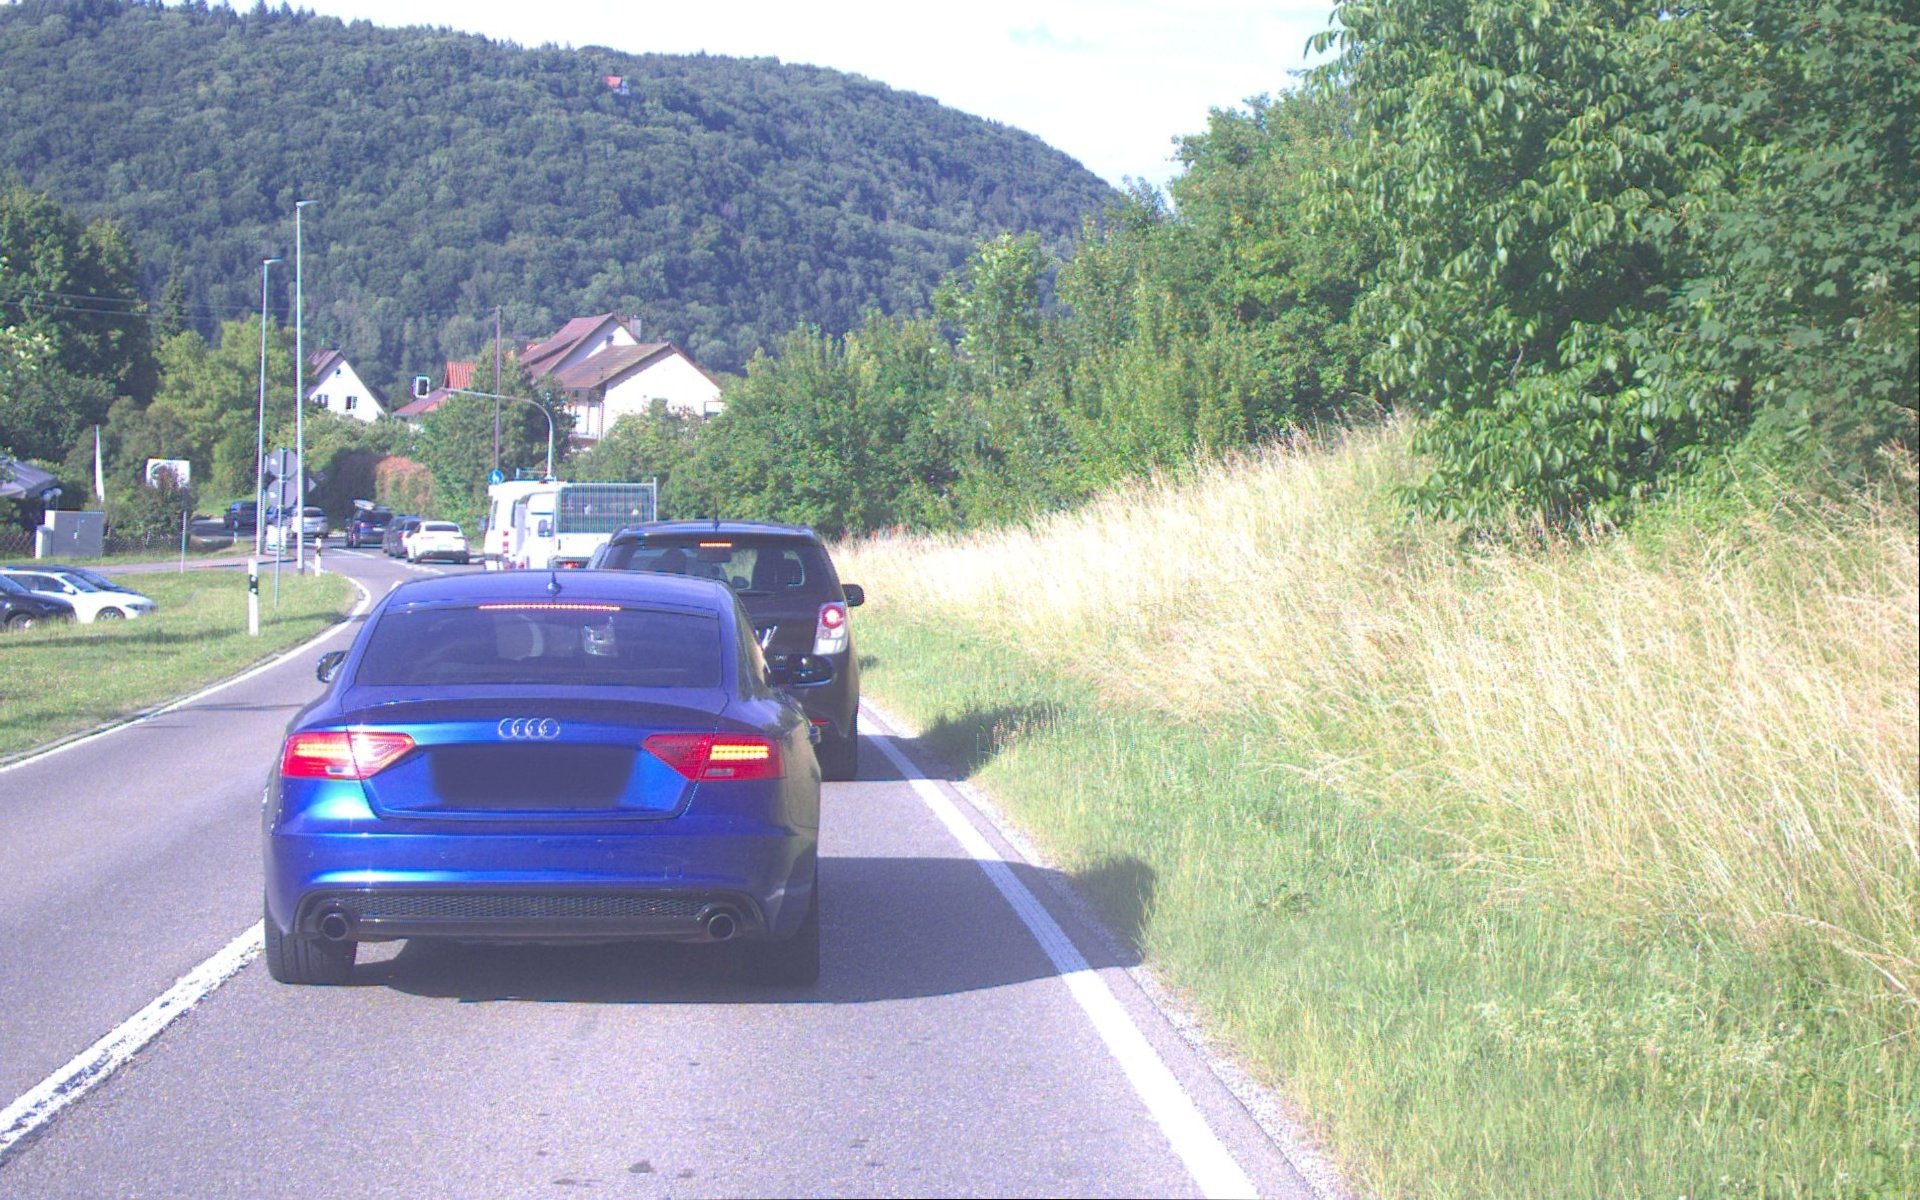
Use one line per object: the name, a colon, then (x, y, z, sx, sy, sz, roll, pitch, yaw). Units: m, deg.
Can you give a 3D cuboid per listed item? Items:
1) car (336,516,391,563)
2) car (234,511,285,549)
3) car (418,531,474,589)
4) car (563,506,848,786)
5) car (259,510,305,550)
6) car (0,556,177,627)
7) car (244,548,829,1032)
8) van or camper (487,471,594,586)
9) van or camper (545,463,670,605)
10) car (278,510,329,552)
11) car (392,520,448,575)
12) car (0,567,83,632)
car: (-24.850, -2.524, 143.124, 1.676, 1.918, 4.001, -1, 1, -18)
car: (-36.293, -3.630, 178.054, 1.954, 1.918, 4.001, -1, 1, -21)
car: (-17.414, -1.368, 116.356, 1.659, 1.918, 4.001, -1, 1, -11)
car: (-1.612, 0.244, 22.221, 1.645, 1.619, 3.517, 2, 1, -3)
car: (-33.162, -3.390, 168.069, 1.676, 1.918, 4.001, -1, 1, -19)
car: (-20.882, -0.213, 81.875, 4.036, 1.655, 1.655, 0, 1, 6)
car: (-1.385, 0.552, 12.140, 1.742, 1.445, 3.517, 1, 1, -4)
van or camper: (-10.281, -1.725, 83.958, 2.280, 2.704, 5.769, -1, 1, -10)
van or camper: (-6.599, -1.211, 63.856, 2.051, 2.497, 5.813, 0, 1, -8)
car: (-30.507, -3.210, 159.717, 1.676, 1.918, 4.001, -1, 1, -20)
car: (-19.528, -1.890, 124.213, 1.659, 1.918, 4.001, -1, 1, -13)
car: (-21.787, -0.010, 77.299, 3.713, 1.434, 1.509, 0, 1, 6)
